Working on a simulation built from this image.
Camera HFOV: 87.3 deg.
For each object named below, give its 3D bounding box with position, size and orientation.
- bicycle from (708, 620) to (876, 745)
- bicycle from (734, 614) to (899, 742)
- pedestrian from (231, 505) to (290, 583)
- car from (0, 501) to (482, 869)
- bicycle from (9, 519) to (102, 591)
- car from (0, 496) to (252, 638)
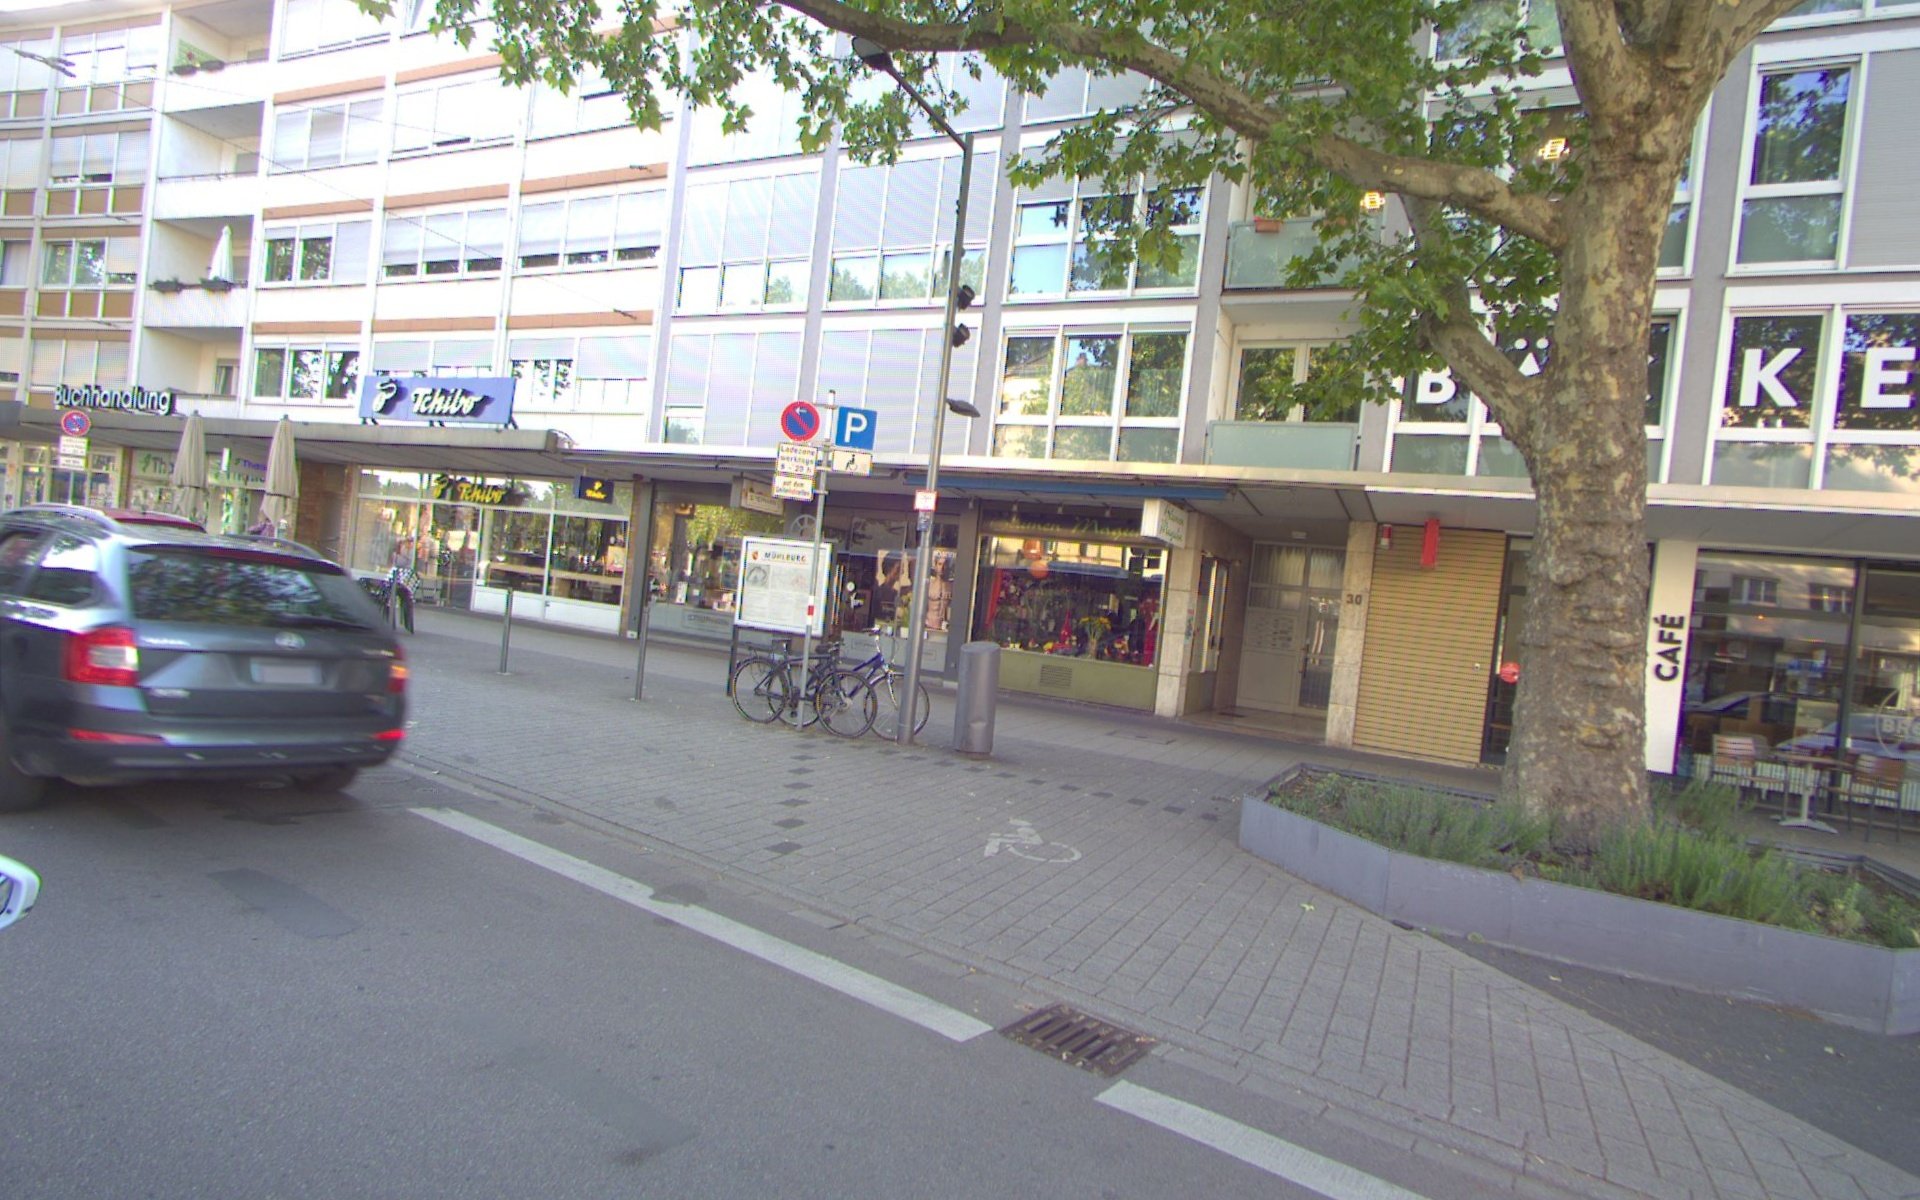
[{"bbox_3d":[-1.753,0.836,10.425,1.686,1.055,0.294,6,4,17],"label":"bicycle"},{"bbox_3d":[-1.530,0.805,10.651,1.686,1.117,0.294,6,4,17],"label":"bicycle"},{"bbox_3d":[-15.289,-1.218,21.991,0.793,1.571,0.641,7,1,24],"label":"pedestrian"},{"bbox_3d":[-4.975,0.287,5.989,4.004,1.490,1.808,6,-2,31],"label":"car"},{"bbox_3d":[-15.783,-0.782,17.552,1.631,1.085,0.512,7,3,22],"label":"bicycle"},{"bbox_3d":[-11.756,-0.507,13.507,4.488,1.516,1.780,6,2,28],"label":"car"}]
